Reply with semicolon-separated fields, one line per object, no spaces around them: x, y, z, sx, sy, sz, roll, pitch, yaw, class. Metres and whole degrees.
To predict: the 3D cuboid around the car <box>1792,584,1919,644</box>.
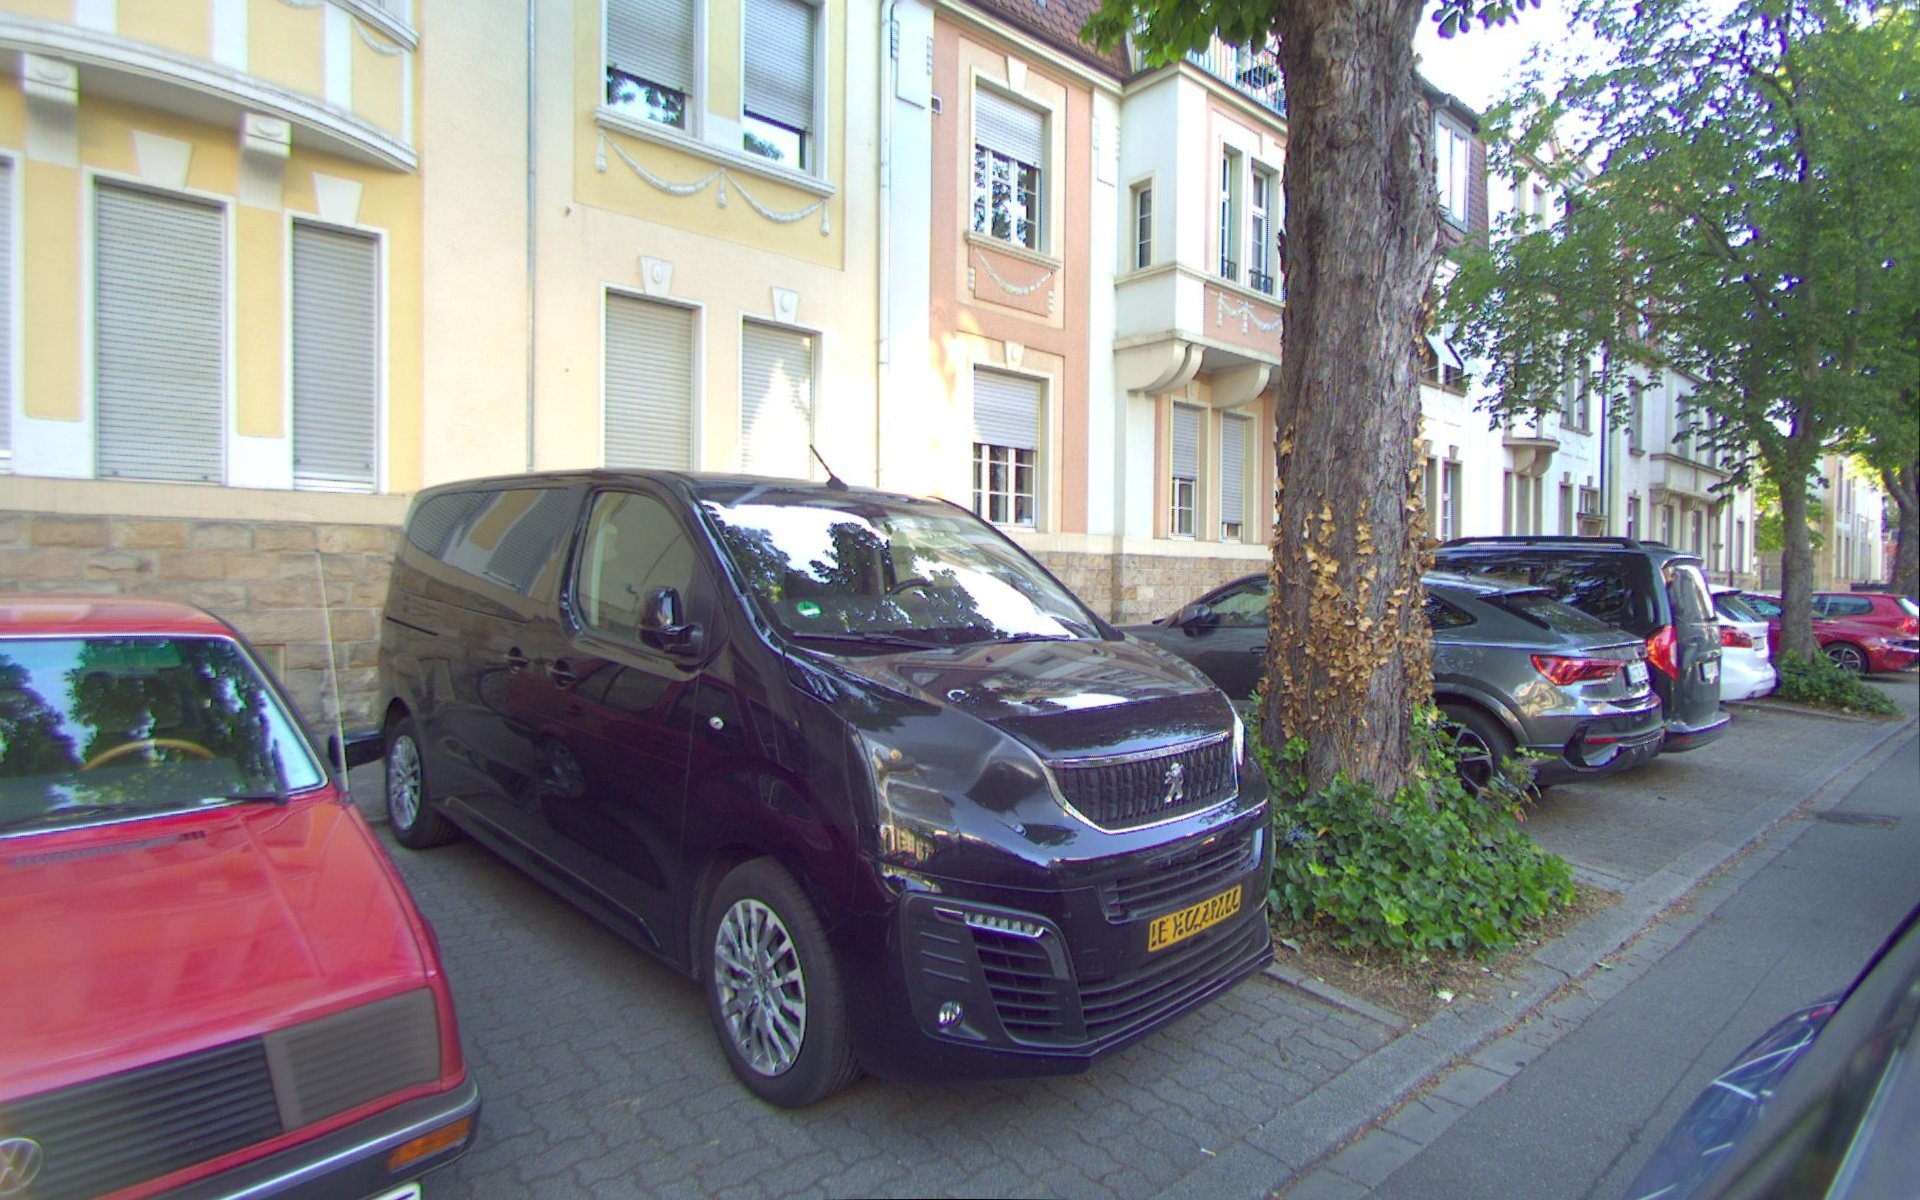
24.006;0.341;26.179;1.511;1.420;3.621;0;3;-40;car

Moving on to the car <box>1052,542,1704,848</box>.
2.789;0.414;7.503;1.569;1.611;4.165;-1;4;-44;car

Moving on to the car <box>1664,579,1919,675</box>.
14.937;0.401;18.049;1.511;1.420;3.621;0;3;-40;car

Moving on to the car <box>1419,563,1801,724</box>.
7.736;0.395;12.271;1.513;1.569;3.616;-1;3;-45;car

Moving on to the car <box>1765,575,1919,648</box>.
21.619;0.249;24.084;1.511;1.584;3.621;0;2;-40;car

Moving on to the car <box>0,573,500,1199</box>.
-2.814;0.655;2.969;1.532;1.336;3.917;-1;4;-43;car

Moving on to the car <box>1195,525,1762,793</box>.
4.337;0.284;8.994;1.569;1.849;4.165;-1;4;-44;car

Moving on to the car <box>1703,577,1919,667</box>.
16.860;0.376;19.662;1.511;1.482;3.621;0;3;-40;car

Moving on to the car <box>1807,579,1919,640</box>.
25.923;0.260;27.972;1.511;1.584;3.621;0;2;-40;car

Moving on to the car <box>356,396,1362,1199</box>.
-0.994;0.349;4.523;1.851;1.846;4.825;-1;4;-44;car
